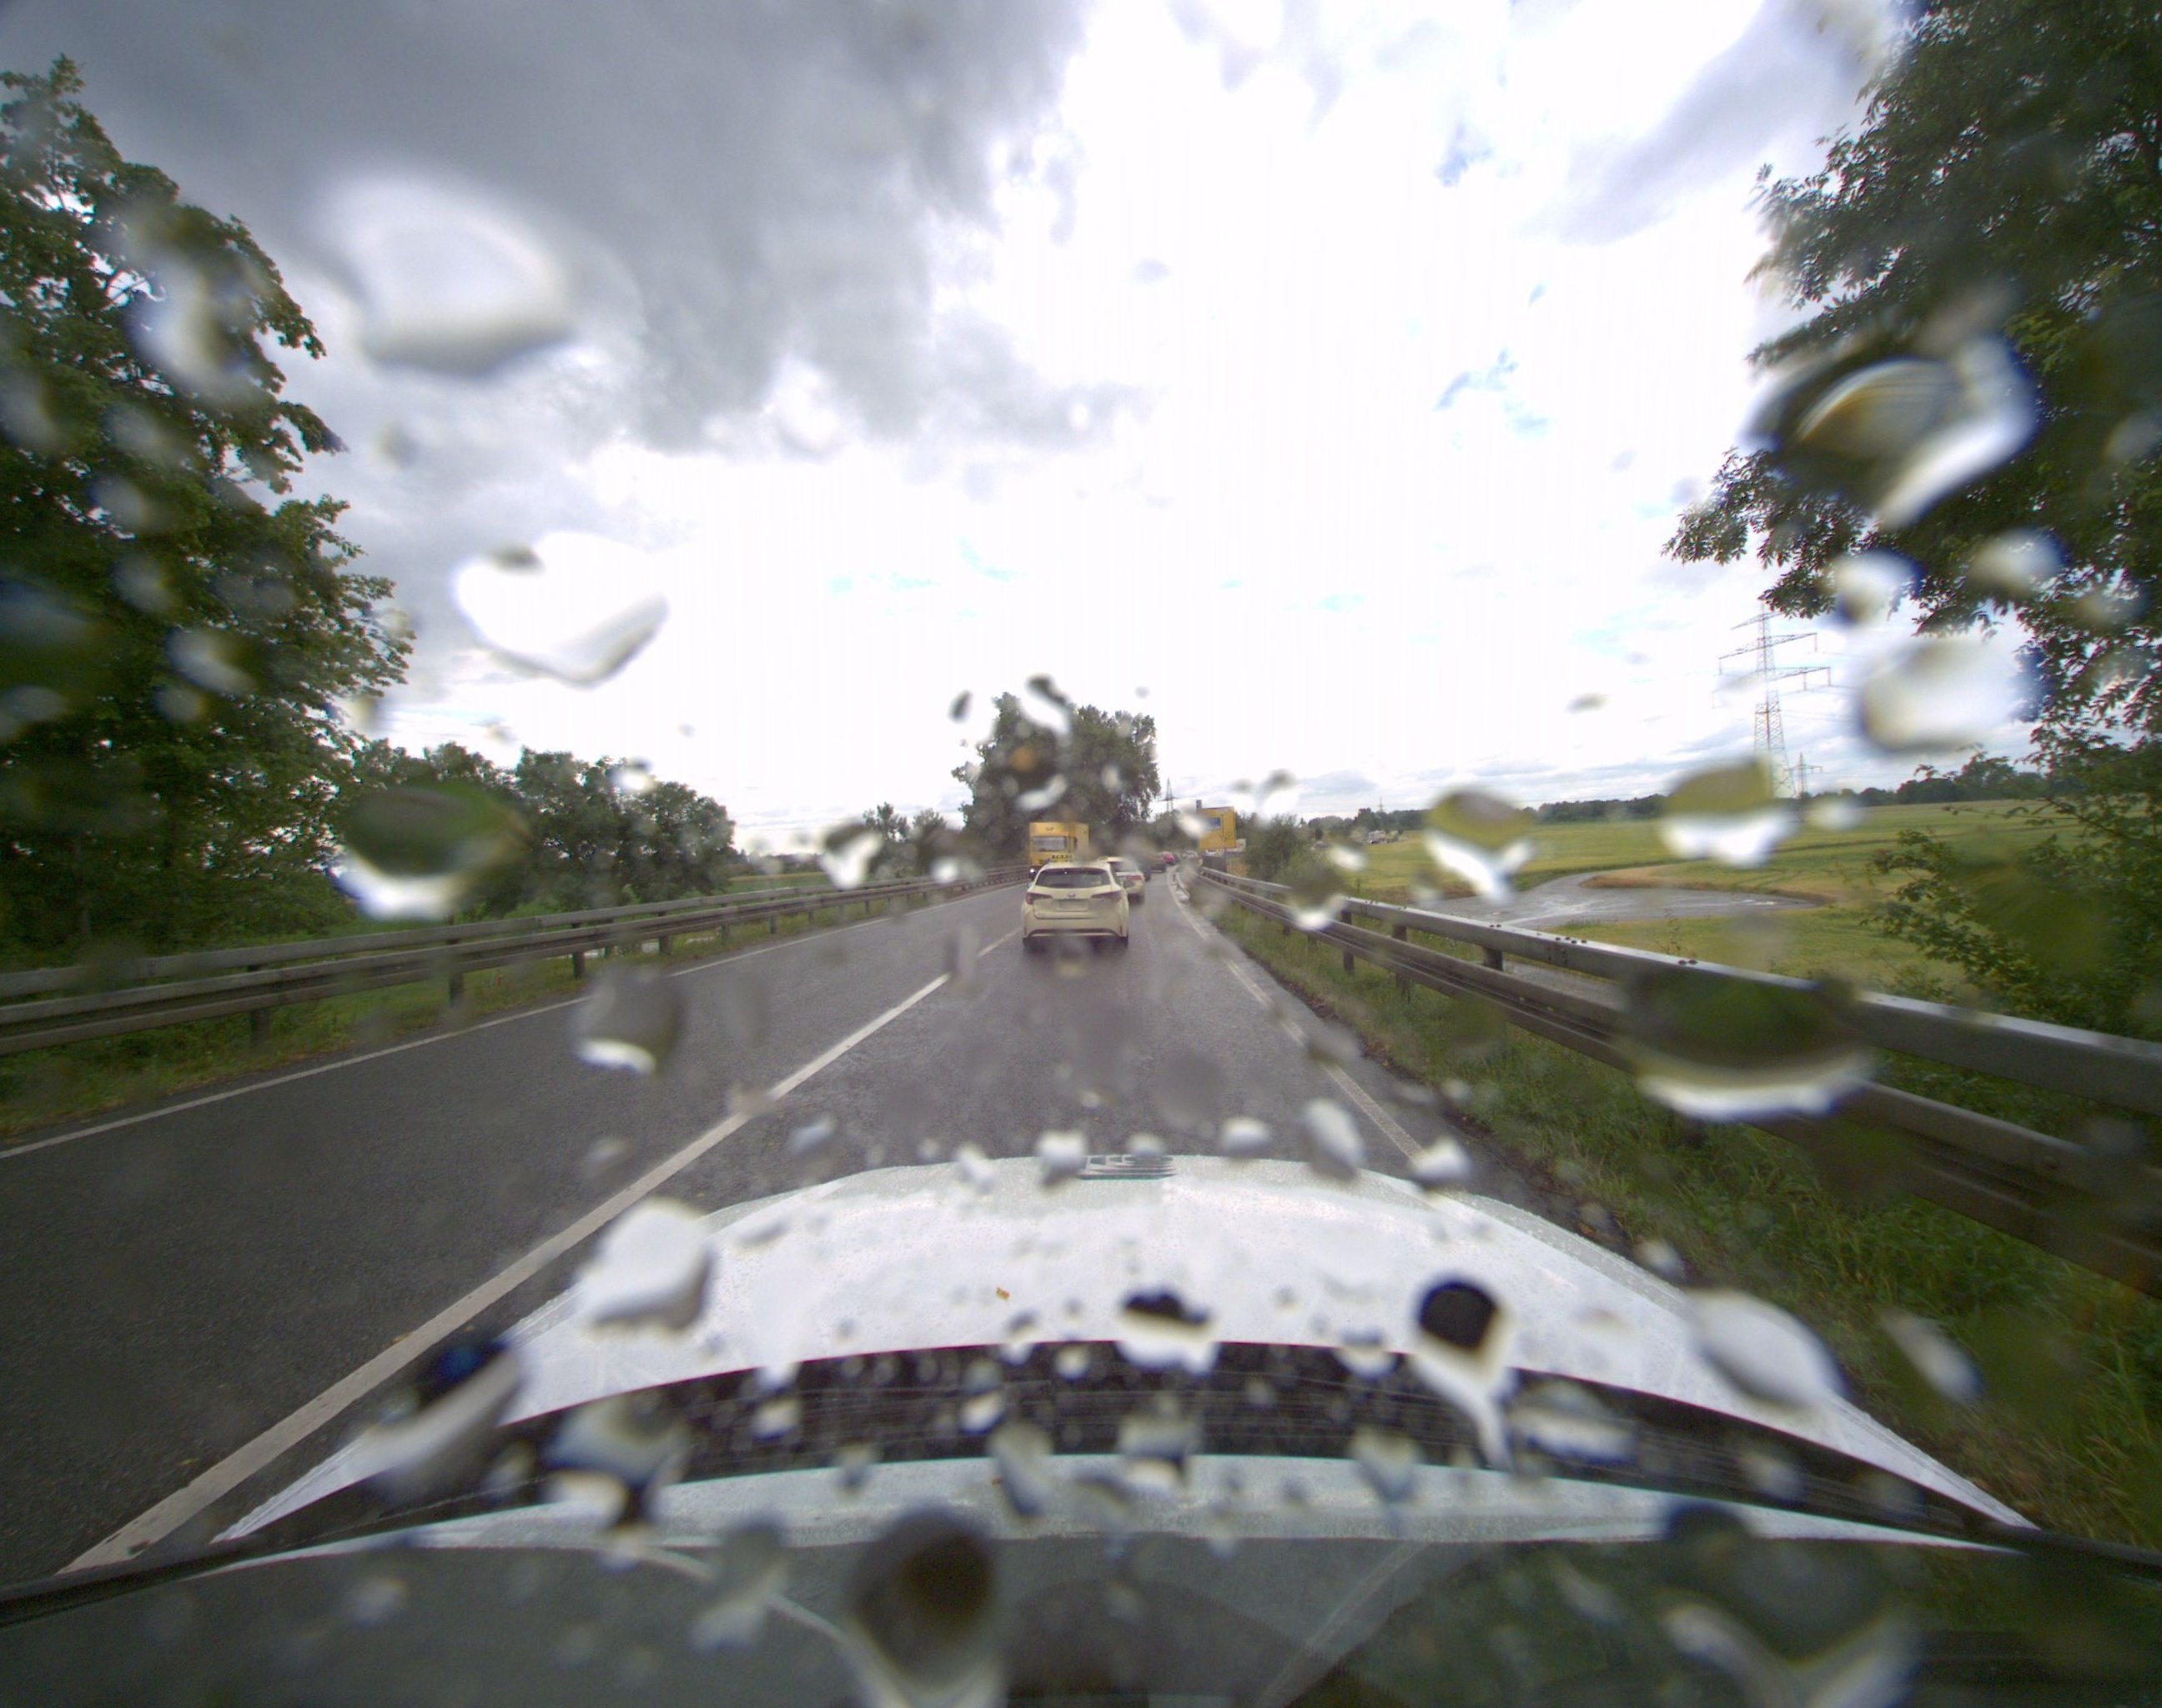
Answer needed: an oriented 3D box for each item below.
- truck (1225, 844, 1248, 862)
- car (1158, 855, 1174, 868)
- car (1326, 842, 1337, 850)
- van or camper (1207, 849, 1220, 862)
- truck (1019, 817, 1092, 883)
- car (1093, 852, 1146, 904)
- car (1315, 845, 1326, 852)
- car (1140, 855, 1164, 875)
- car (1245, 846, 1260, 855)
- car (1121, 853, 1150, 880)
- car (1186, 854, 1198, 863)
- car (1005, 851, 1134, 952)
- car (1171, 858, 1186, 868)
[{"bbox_3d":[31.735,-0.192,166.407,3.113,3.562,7.561,-1,-1,22],"label":"truck"},{"bbox_3d":[9.515,0.812,91.020,1.651,1.409,3.912,-1,-1,7],"label":"car"},{"bbox_3d":[72.550,-2.318,235.769,1.974,2.014,4.025,-1,-1,33],"label":"car"},{"bbox_3d":[23.325,0.337,143.017,1.979,2.254,4.015,-1,-1,14],"label":"van or camper"},{"bbox_3d":[-1.277,-0.197,47.179,2.756,3.429,9.205,0,0,7],"label":"truck"},{"bbox_3d":[1.315,0.738,26.574,1.571,1.572,3.686,-1,0,5],"label":"car"},{"bbox_3d":[67.452,-1.494,229.407,1.801,1.838,4.014,-1,-1,32],"label":"car"},{"bbox_3d":[5.486,0.834,62.784,1.656,1.464,3.483,-1,0,7],"label":"car"},{"bbox_3d":[39.132,-0.842,185.777,2.146,2.014,4.024,-1,-1,27],"label":"car"},{"bbox_3d":[3.114,0.685,46.195,1.498,1.437,3.361,-1,0,6],"label":"car"},{"bbox_3d":[16.562,0.722,121.290,1.473,1.309,3.487,-1,0,10],"label":"car"},{"bbox_3d":[-0.047,0.753,14.708,1.897,1.537,4.167,-1,0,5],"label":"car"},{"bbox_3d":[12.463,1.158,104.176,1.472,1.309,3.490,-1,0,14],"label":"car"}]
